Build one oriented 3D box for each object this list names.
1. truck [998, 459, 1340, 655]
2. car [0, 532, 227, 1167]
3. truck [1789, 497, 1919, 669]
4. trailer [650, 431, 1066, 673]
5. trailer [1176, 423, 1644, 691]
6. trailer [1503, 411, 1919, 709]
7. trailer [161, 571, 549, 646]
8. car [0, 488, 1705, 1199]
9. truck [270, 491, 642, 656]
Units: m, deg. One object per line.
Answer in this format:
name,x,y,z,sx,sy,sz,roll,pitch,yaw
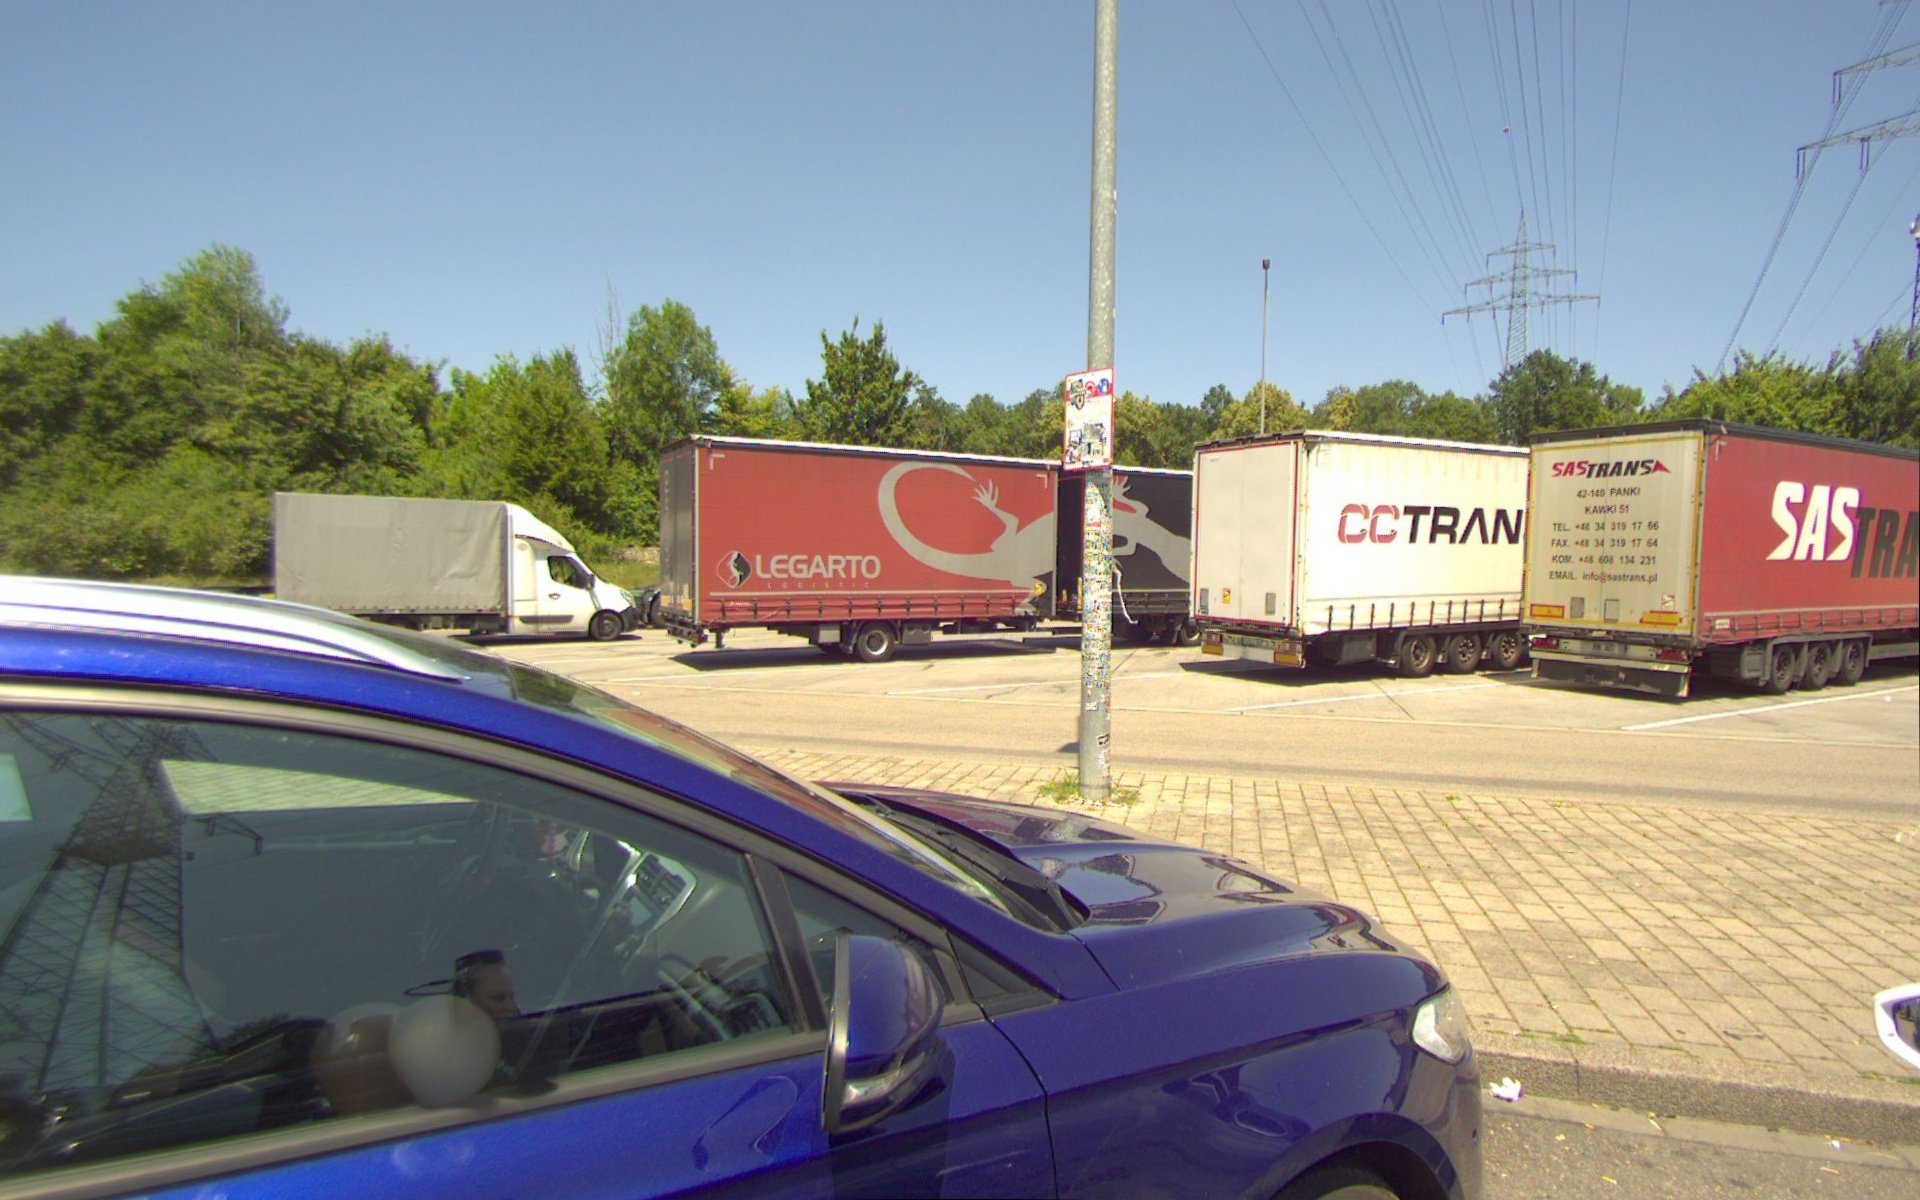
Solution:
truck,5.267,-0.995,24.537,8.586,4.127,2.693,-1,3,-30
car,-4.418,0.576,2.086,4.522,1.526,1.743,0,2,-32
truck,21.254,-0.401,22.045,5.903,3.409,2.798,-1,3,-30
trailer,-1.886,-0.900,20.329,8.007,4.127,2.693,-1,3,-30
trailer,8.968,-0.768,19.342,10.264,4.158,2.693,-1,3,-30
trailer,15.462,-0.675,18.609,13.599,4.127,2.807,-1,3,-31
trailer,-14.754,0.110,25.231,8.007,1.648,2.199,-1,3,-30
car,-0.977,0.648,1.449,4.522,1.491,1.743,0,2,-32
truck,-11.243,-0.618,22.992,7.187,3.289,2.694,-1,3,-29
